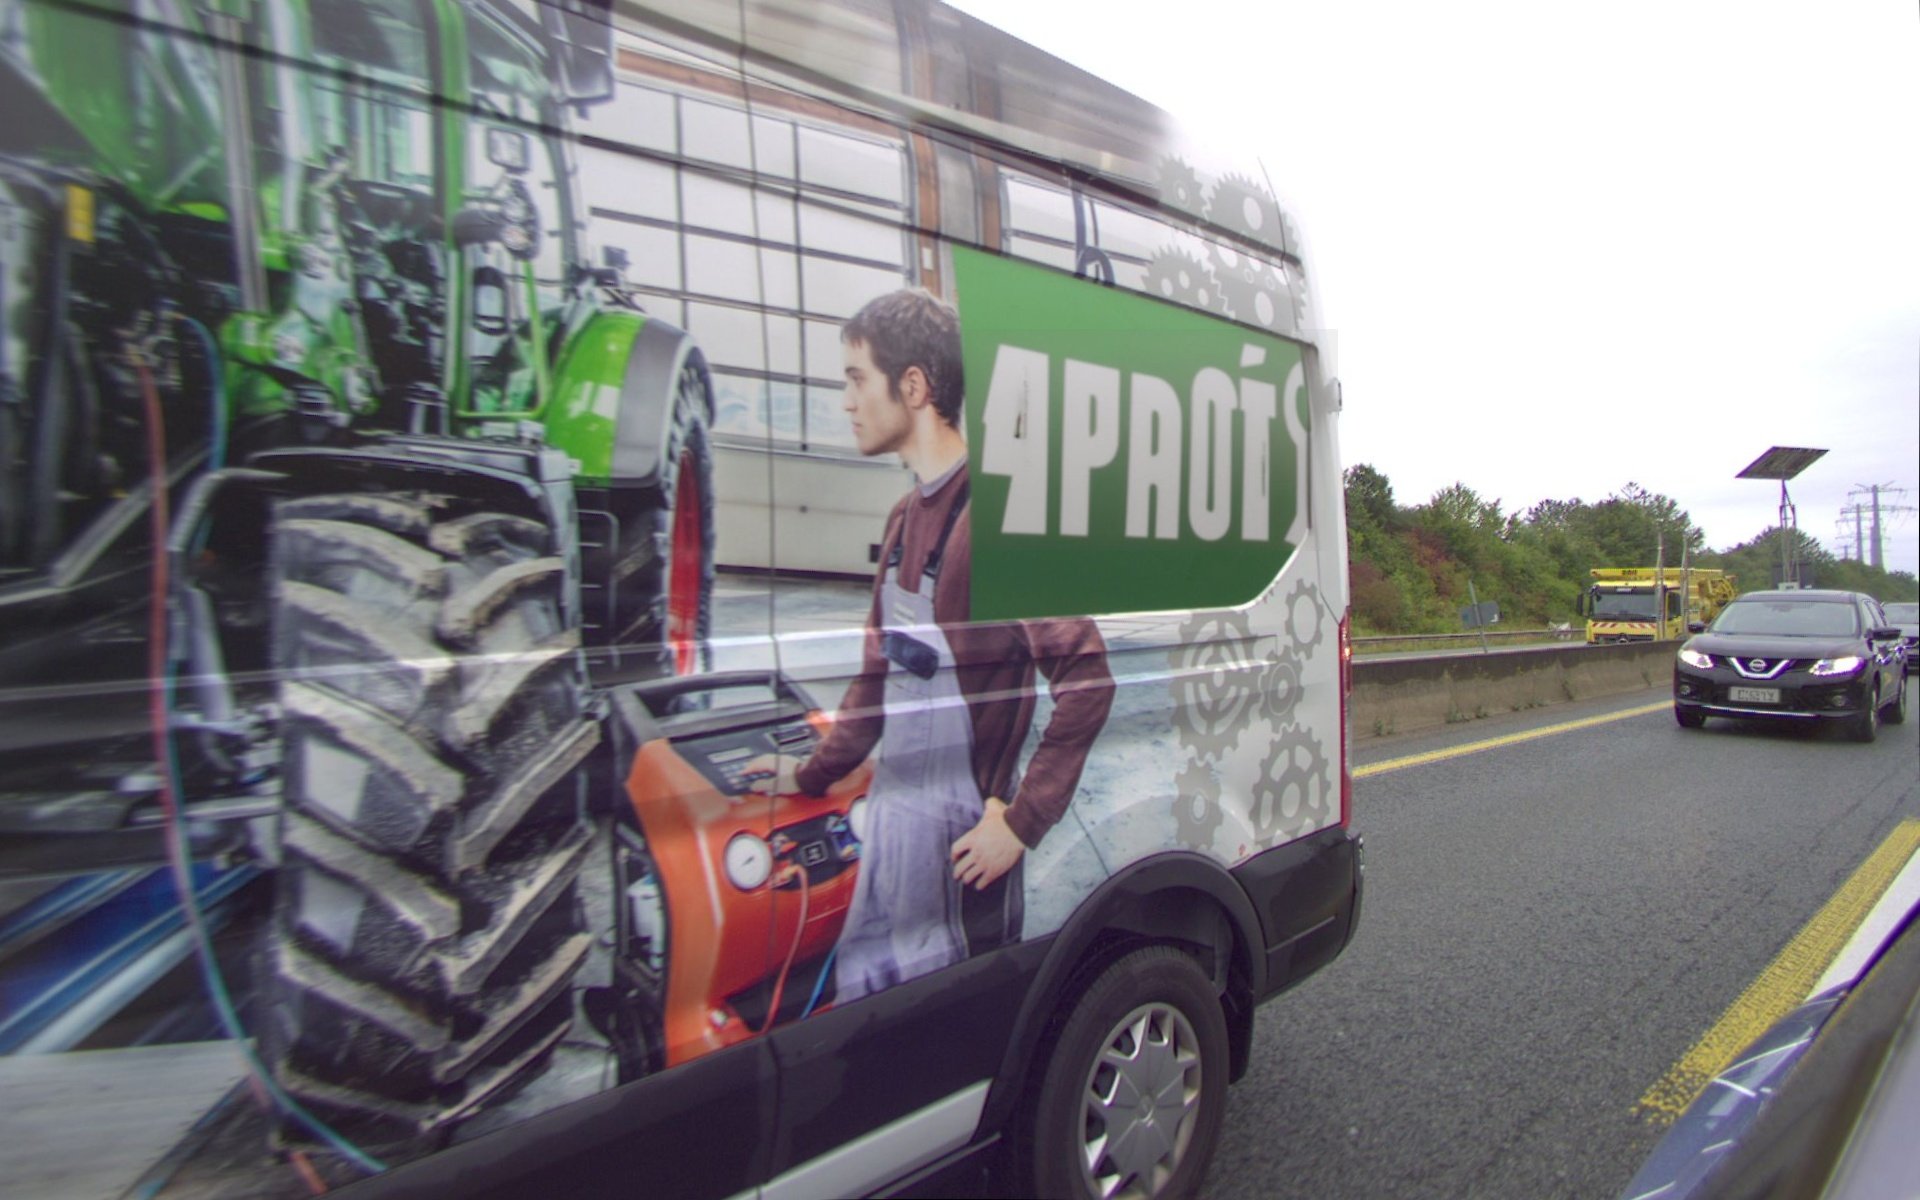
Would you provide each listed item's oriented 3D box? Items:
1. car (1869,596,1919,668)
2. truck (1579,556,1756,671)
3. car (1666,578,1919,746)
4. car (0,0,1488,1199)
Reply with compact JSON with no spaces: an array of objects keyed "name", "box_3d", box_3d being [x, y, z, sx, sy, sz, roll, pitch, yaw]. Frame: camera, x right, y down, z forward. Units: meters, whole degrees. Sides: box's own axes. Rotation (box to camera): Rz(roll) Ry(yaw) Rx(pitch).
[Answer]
[{"name":"car","box_3d":[21.771,0.668,22.612,4.053,1.509,1.782,0,1,-42]},{"name":"truck","box_3d":[24.300,0.370,34.506,9.405,3.467,2.618,0,0,-40]},{"name":"car","box_3d":[10.425,0.599,12.458,4.561,1.696,1.892,0,1,-42]},{"name":"car","box_3d":[-1.402,0.010,1.856,6.010,2.709,2.148,0,0,-41]}]
